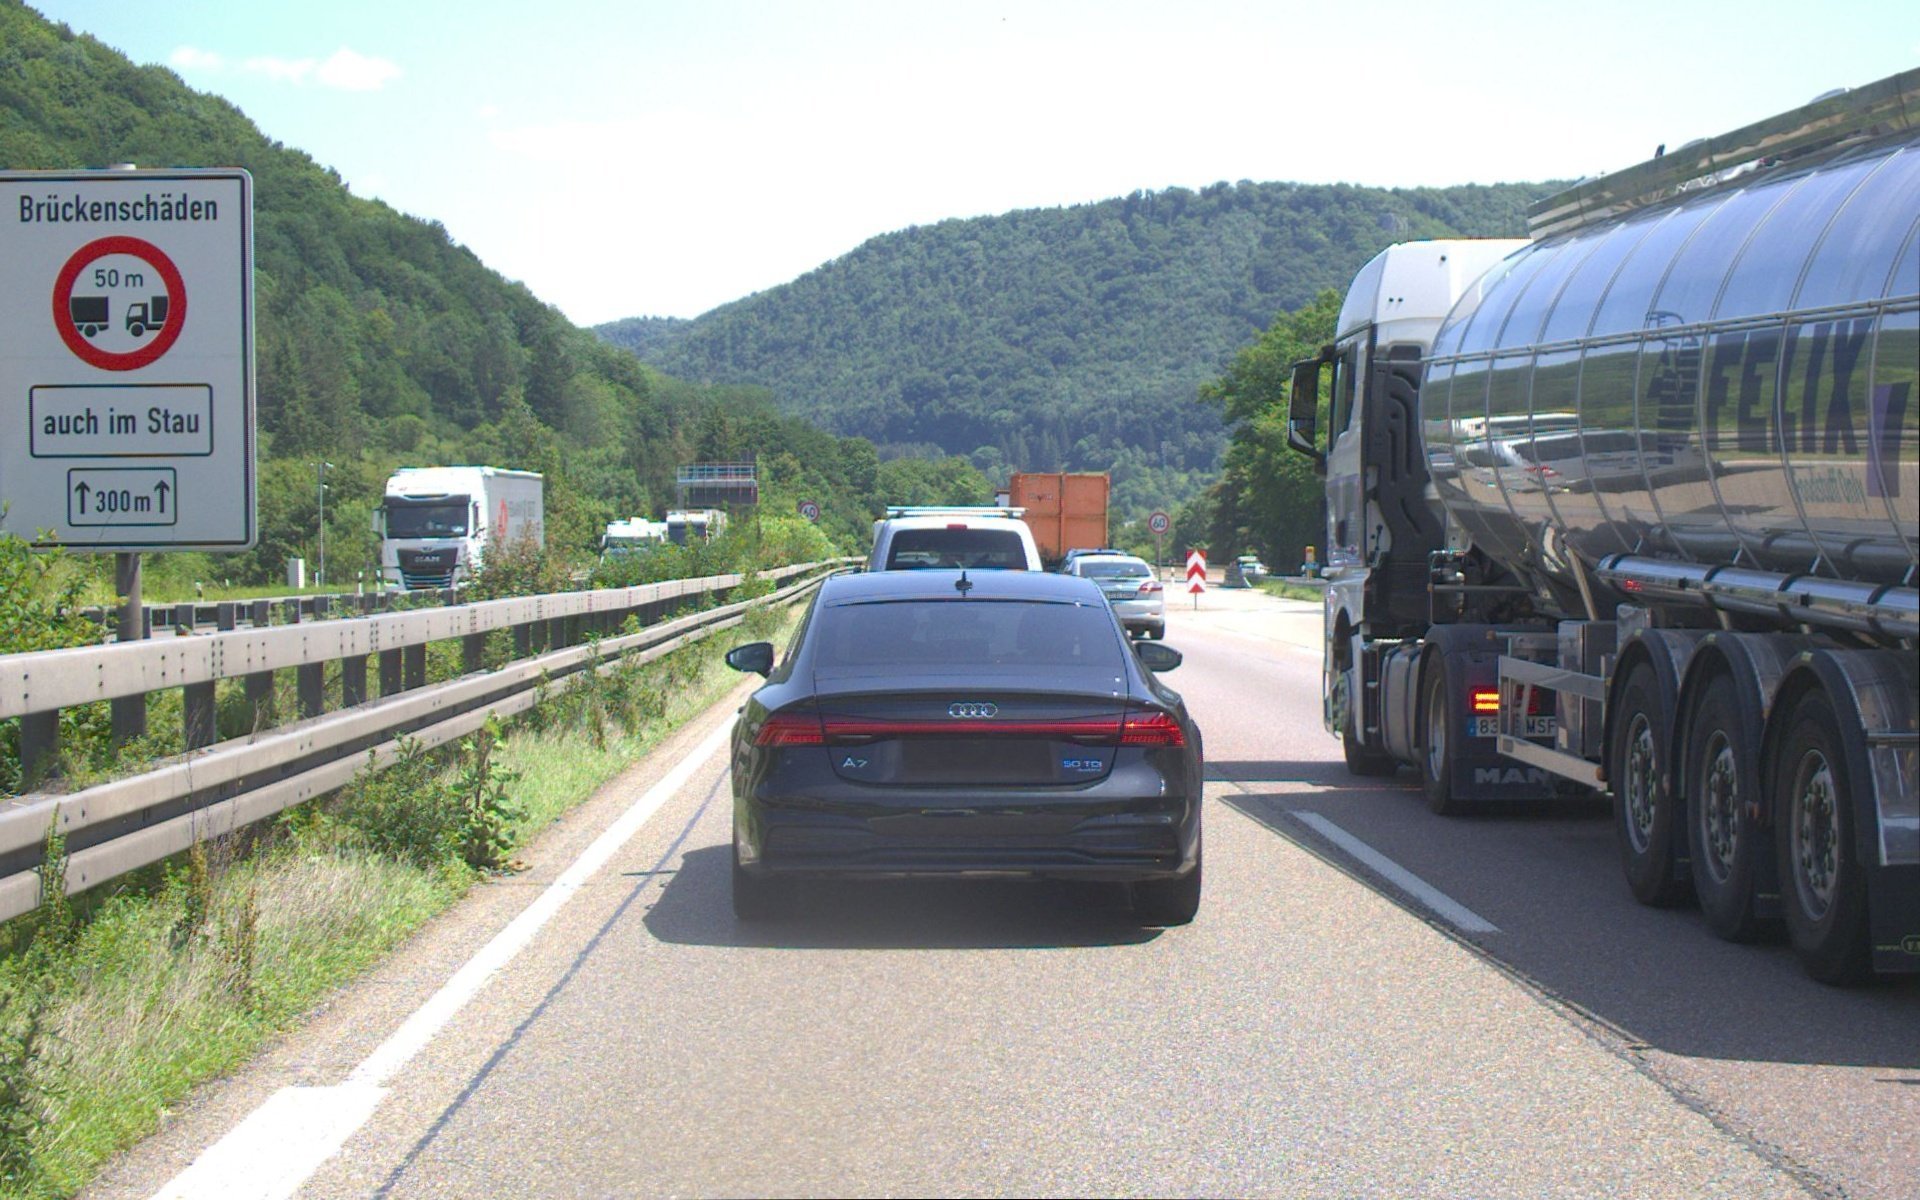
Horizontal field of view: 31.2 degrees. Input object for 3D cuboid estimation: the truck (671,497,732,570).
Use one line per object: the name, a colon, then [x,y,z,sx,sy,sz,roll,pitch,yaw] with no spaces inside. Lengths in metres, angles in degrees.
truck: [-14.566,-3.729,194.123,2.869,3.992,10.172,0,1,-1]

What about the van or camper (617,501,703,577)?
van or camper: [-13.383,-2.720,153.910,2.590,3.324,7.647,0,1,4]

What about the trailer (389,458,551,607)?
trailer: [-14.013,-1.934,99.436,2.782,3.986,14.160,0,1,-1]

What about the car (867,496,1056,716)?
car: [-0.018,0.020,30.796,1.575,1.827,4.000,0,1,-1]

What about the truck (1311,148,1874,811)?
truck: [3.857,-0.719,22.135,2.511,3.745,5.246,0,1,-1]

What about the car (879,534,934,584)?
car: [-1.756,-1.377,114.204,1.712,1.613,4.000,0,1,0]

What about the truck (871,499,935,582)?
truck: [-2.436,-2.582,149.299,2.628,3.429,11.421,0,1,0]

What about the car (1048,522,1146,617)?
car: [2.967,-0.683,75.055,1.993,1.996,4.000,0,1,0]

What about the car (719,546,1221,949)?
car: [-0.066,0.516,14.754,1.849,1.483,4.083,0,1,-3]

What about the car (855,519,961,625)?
car: [-1.022,-0.562,67.283,1.993,2.007,4.000,-1,1,-1]

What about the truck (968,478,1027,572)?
truck: [1.412,-2.865,132.850,1.993,3.435,11.812,0,1,-1]

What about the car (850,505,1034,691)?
car: [-0.227,-0.052,39.428,1.993,2.007,4.000,0,1,-1]

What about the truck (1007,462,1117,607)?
truck: [2.946,-1.934,102.879,2.817,3.989,14.956,0,1,0]

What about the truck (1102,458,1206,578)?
truck: [6.781,-2.848,122.349,2.817,3.989,14.956,0,1,0]

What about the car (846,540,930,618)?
car: [-1.530,-0.474,74.303,1.712,1.613,4.000,0,1,0]

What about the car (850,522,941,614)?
car: [-1.473,-0.733,77.921,1.993,2.007,4.000,-1,1,-1]

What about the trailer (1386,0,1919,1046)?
trailer: [4.081,-0.572,15.479,2.538,3.722,11.892,0,1,-1]

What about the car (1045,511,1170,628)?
car: [2.601,-0.561,61.517,1.993,2.007,4.000,0,1,-1]

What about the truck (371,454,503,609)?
truck: [-13.915,-1.808,91.783,2.728,3.988,5.370,0,1,-1]
